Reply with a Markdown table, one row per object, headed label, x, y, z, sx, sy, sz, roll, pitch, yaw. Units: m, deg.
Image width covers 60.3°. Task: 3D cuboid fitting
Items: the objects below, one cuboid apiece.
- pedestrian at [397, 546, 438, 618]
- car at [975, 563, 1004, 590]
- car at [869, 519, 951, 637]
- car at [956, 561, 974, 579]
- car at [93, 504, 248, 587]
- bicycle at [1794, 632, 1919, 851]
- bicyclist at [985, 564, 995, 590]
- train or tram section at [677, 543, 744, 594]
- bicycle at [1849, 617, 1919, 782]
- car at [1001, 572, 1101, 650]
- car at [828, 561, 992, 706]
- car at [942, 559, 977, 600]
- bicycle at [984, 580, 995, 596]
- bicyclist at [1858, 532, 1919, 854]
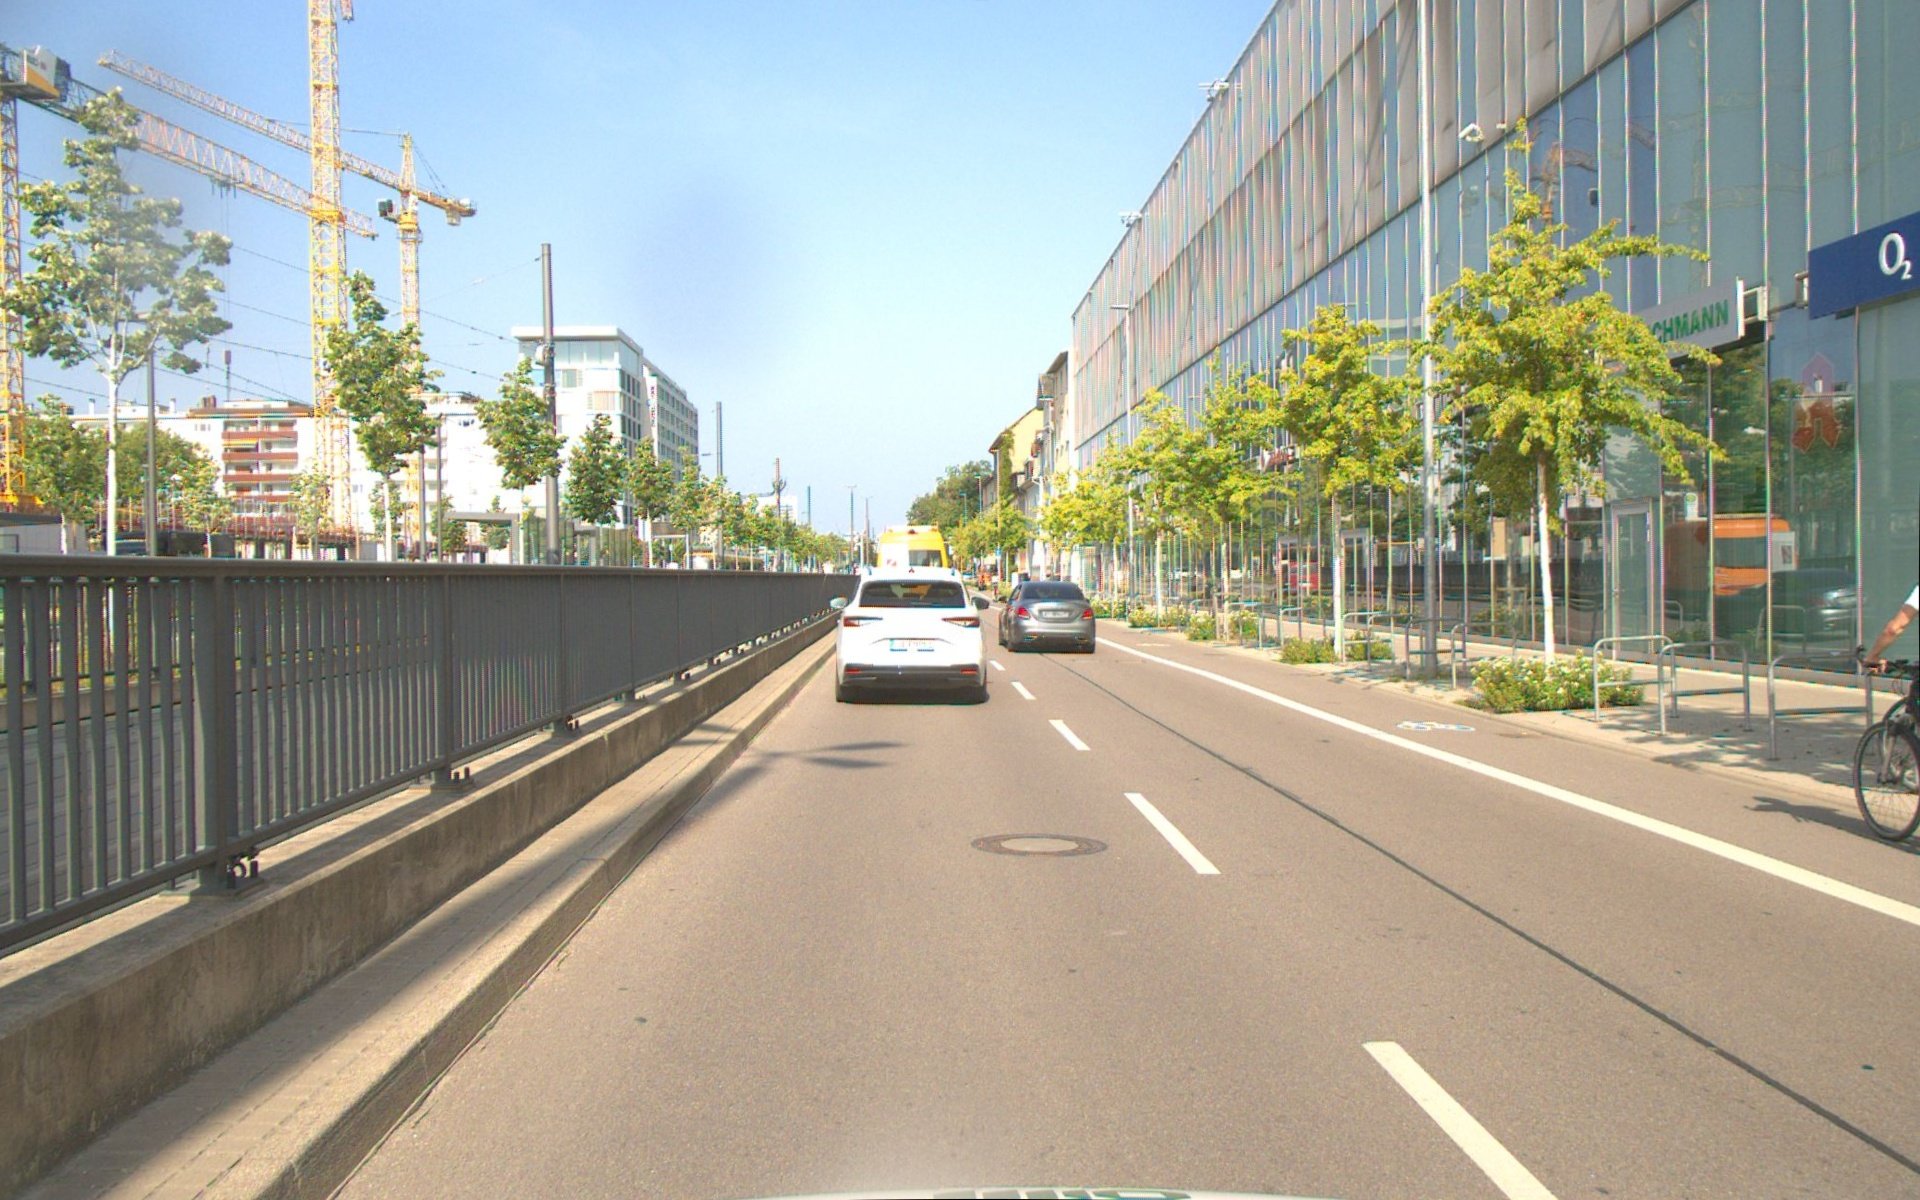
| label | x | y | z | sx | sy | sz | roll | pitch | yaw |
| --- | --- | --- | --- | --- | --- | --- | --- | --- | --- |
| pedestrian | -12.658 | -0.420 | 38.624 | 0.721 | 1.647 | 0.710 | -1 | 1 | -3 |
| car | 2.332 | -1.888 | 130.608 | 2.022 | 2.049 | 4.586 | -1 | 1 | -2 |
| car | -1.316 | -0.679 | 43.727 | 1.979 | 2.844 | 5.401 | -1 | 3 | -2 |
| car | 0.528 | -3.127 | 174.186 | 1.776 | 1.844 | 3.834 | -1 | 1 | -2 |
| car | -35.991 | -2.440 | 75.852 | 2.993 | 3.574 | 9.230 | 0 | 1 | -2 |
| bicycle | 5.605 | 0.801 | 9.461 | 0.647 | 1.136 | 2.051 | -1 | 1 | 1 |
| bicyclist | 1.819 | -1.391 | 100.650 | 0.626 | 1.604 | 0.771 | -1 | 1 | 0 |
| train or tram section | -19.372 | -2.425 | 129.572 | 2.847 | 3.740 | 18.133 | 1 | 1 | -1 |
| bicycle | 7.375 | 0.685 | 11.760 | 1.840 | 1.128 | 0.490 | -1 | 1 | 0 |
| car | 1.824 | 0.186 | 34.366 | 1.725 | 1.461 | 4.114 | 1 | 1 | -2 |
| car | -0.620 | 0.333 | 20.701 | 1.832 | 1.602 | 3.999 | -1 | 1 | -2 |
| car | -0.009 | -1.075 | 86.814 | 1.752 | 2.049 | 4.000 | 1 | 1 | 0 |
| bicycle | 1.821 | -0.720 | 100.780 | 0.642 | 0.955 | 1.517 | -1 | 1 | 0 |
| bicyclist | 5.607 | 0.503 | 9.346 | 0.637 | 1.779 | 0.769 | -1 | 1 | 1 |
